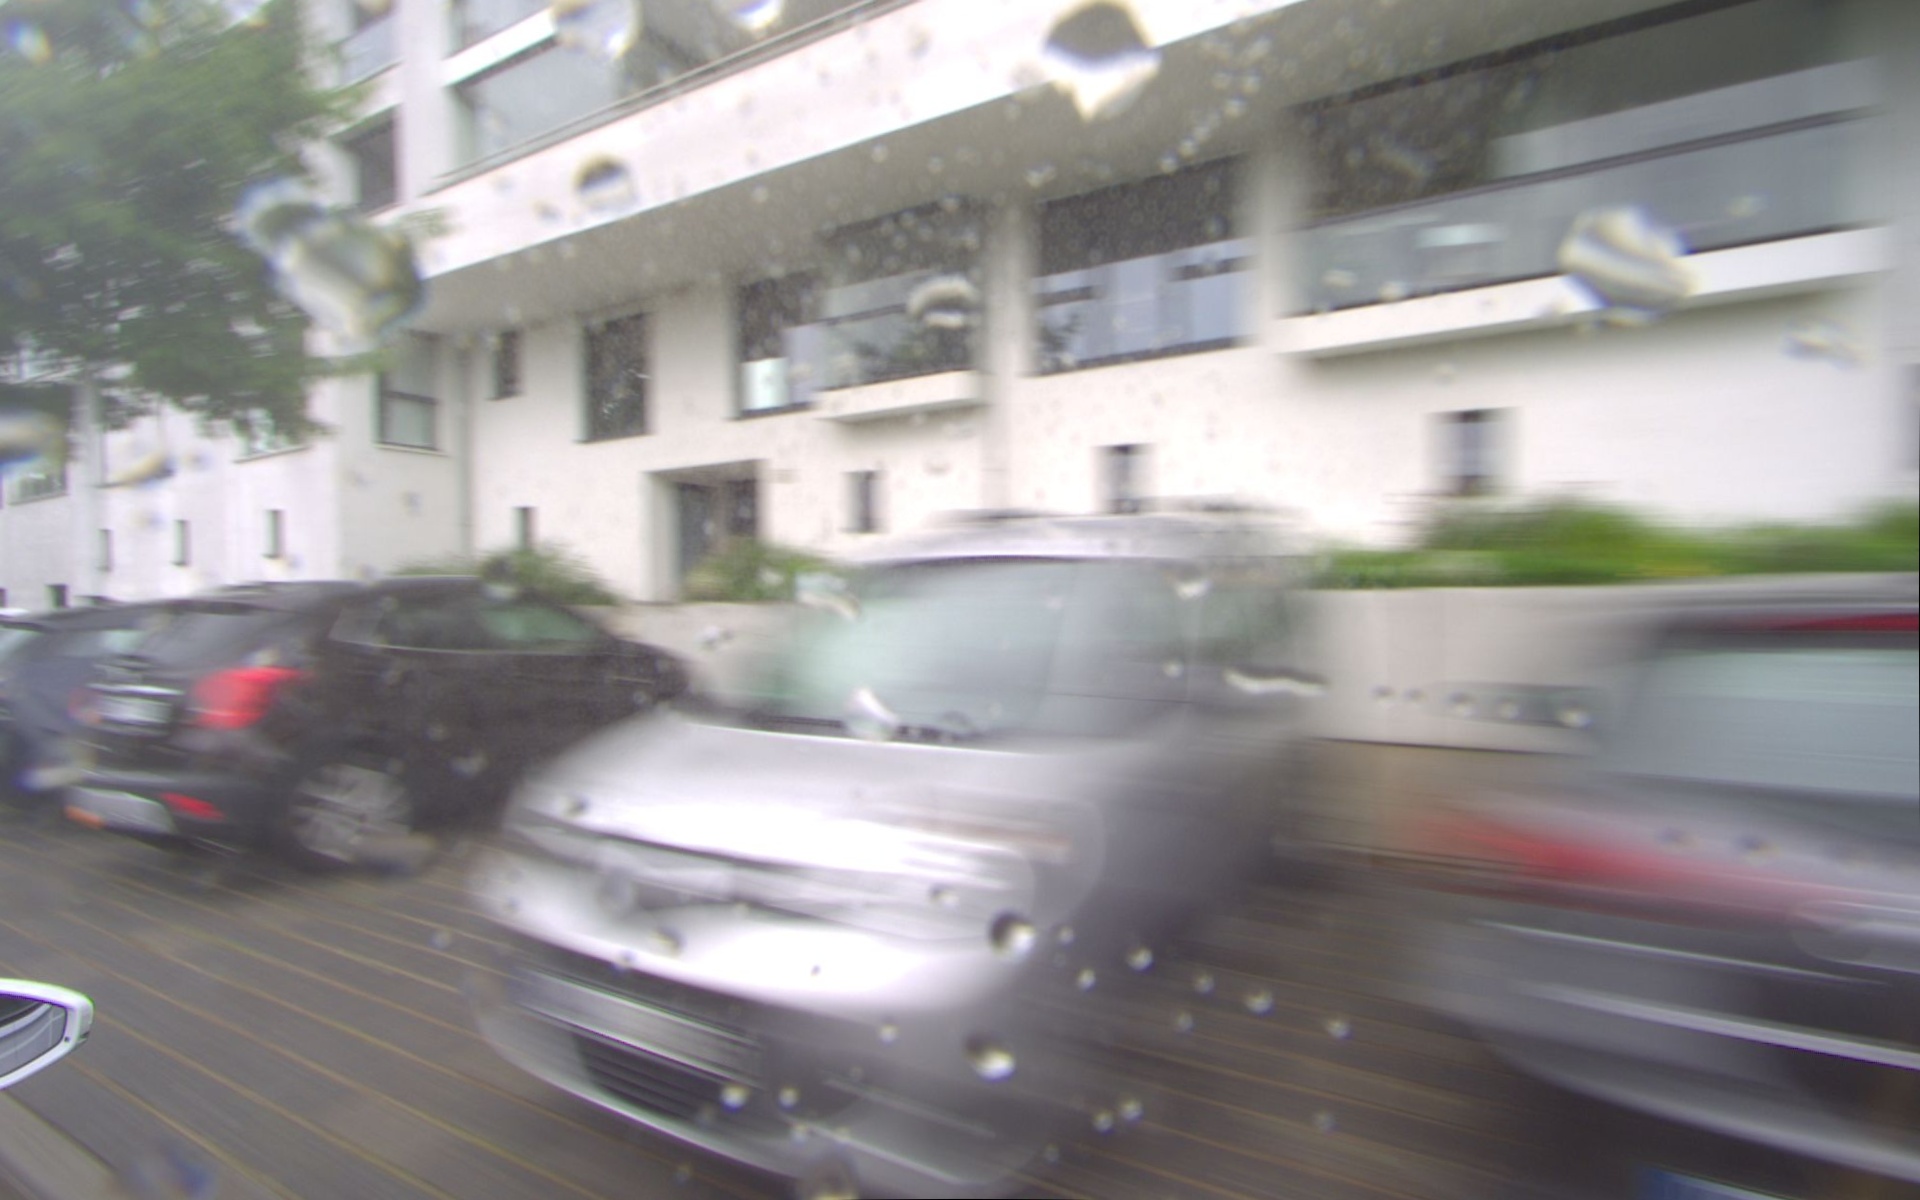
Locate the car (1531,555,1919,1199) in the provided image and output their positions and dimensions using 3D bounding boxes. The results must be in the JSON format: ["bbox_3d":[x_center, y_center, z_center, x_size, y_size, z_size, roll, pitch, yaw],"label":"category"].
[{"bbox_3d":[2.535,0.675,3.125,1.298,1.502,3.250,0,0,30],"label":"car"}]

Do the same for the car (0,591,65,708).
[{"bbox_3d":[-16.265,0.772,14.613,1.976,1.800,4.380,0,0,31],"label":"car"}]

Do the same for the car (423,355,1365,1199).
[{"bbox_3d":[0.339,0.477,4.042,1.702,1.920,4.083,0,1,33],"label":"car"}]

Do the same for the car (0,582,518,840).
[{"bbox_3d":[-6.004,0.703,8.453,1.834,1.622,3.881,0,0,26],"label":"car"}]

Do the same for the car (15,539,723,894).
[{"bbox_3d":[-3.634,0.575,6.958,1.834,1.703,3.881,0,0,26],"label":"car"}]
